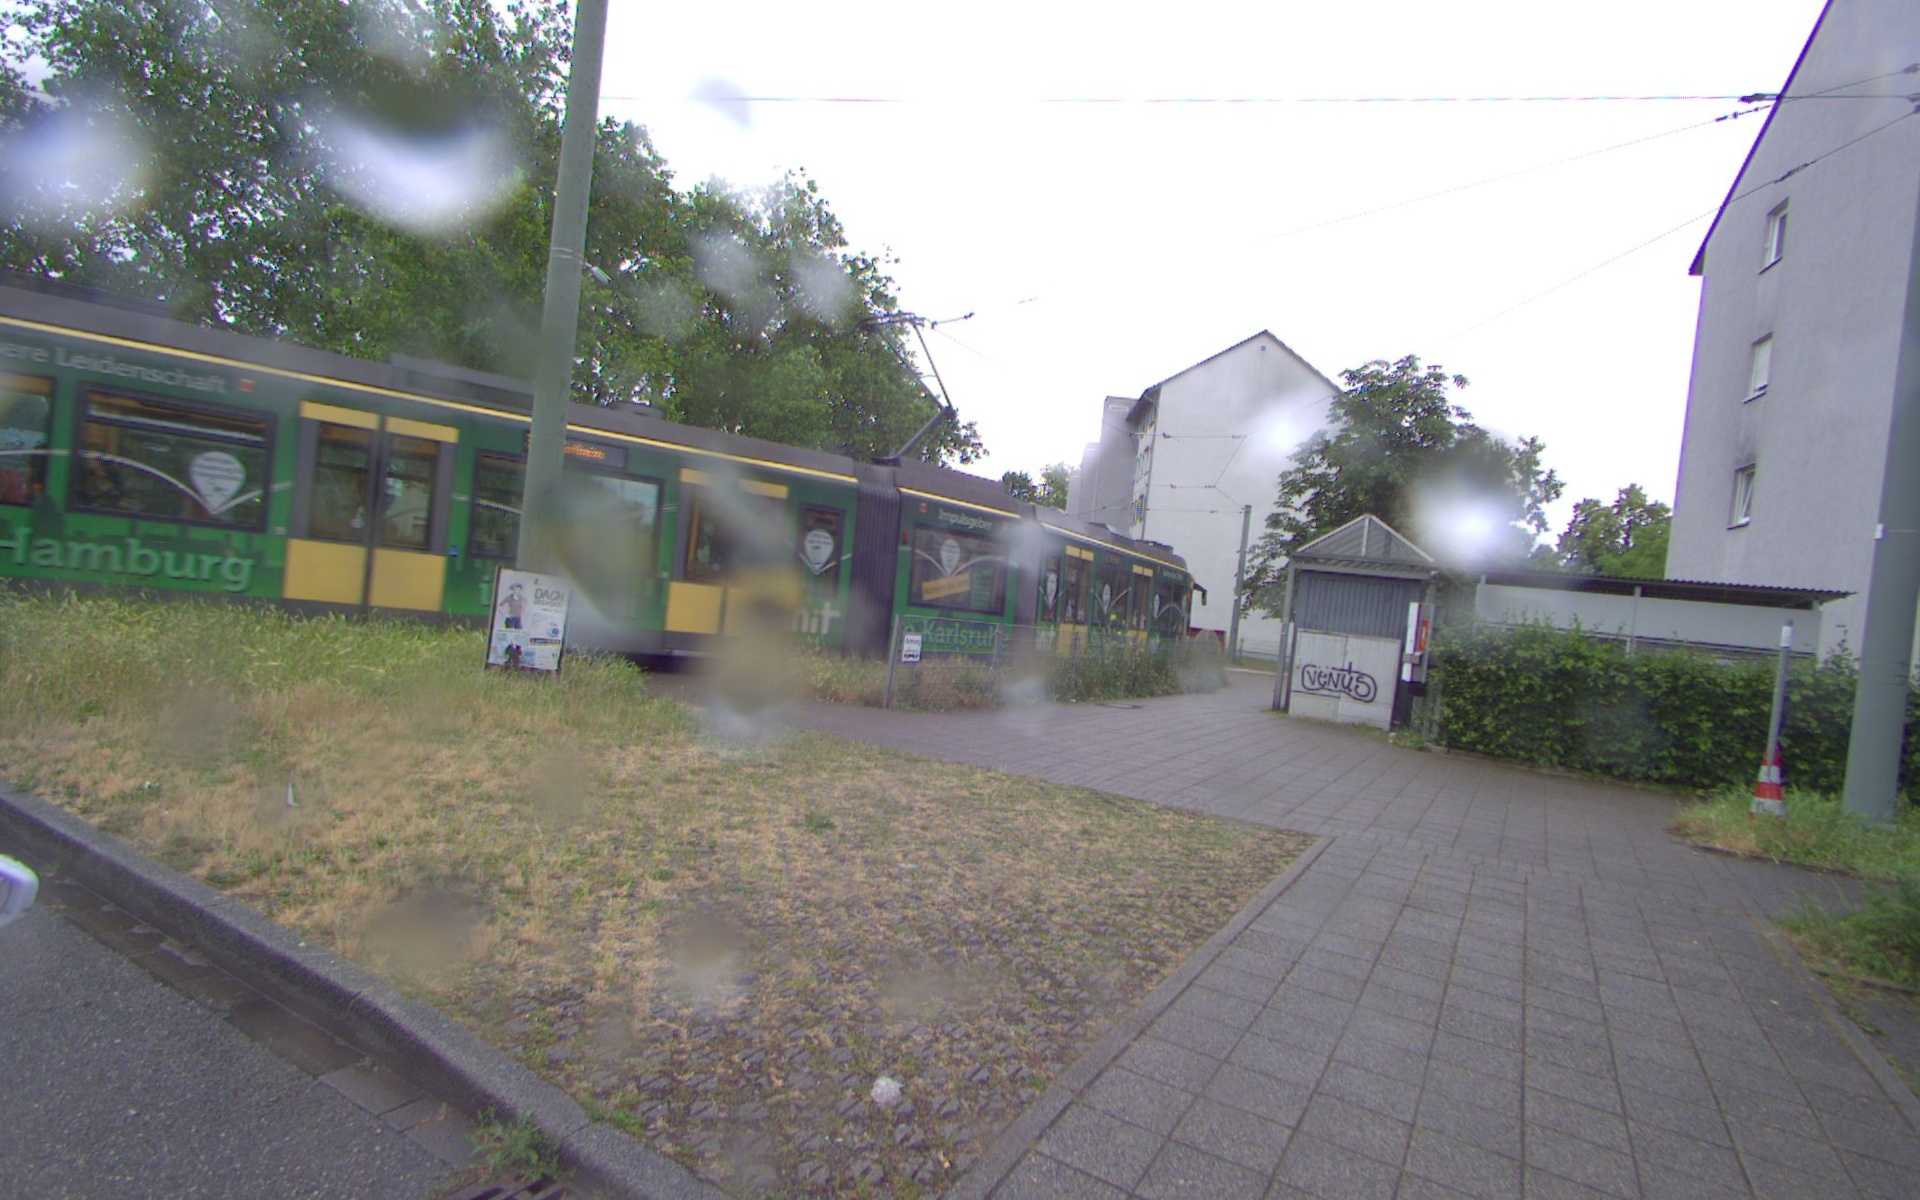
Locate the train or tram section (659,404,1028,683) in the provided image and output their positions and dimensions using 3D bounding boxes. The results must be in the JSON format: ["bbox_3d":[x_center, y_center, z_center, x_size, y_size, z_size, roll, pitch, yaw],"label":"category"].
[{"bbox_3d":[-1.767,-0.717,16.224,4.953,3.597,2.737,6,0,-42],"label":"train or tram section"}]

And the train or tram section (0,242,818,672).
[{"bbox_3d":[-8.272,-1.438,11.526,12.997,3.598,2.745,6,1,-33],"label":"train or tram section"}]

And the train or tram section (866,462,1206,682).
[{"bbox_3d":[2.513,-0.192,22.804,2.721,3.597,12.186,7,0,28],"label":"train or tram section"}]
